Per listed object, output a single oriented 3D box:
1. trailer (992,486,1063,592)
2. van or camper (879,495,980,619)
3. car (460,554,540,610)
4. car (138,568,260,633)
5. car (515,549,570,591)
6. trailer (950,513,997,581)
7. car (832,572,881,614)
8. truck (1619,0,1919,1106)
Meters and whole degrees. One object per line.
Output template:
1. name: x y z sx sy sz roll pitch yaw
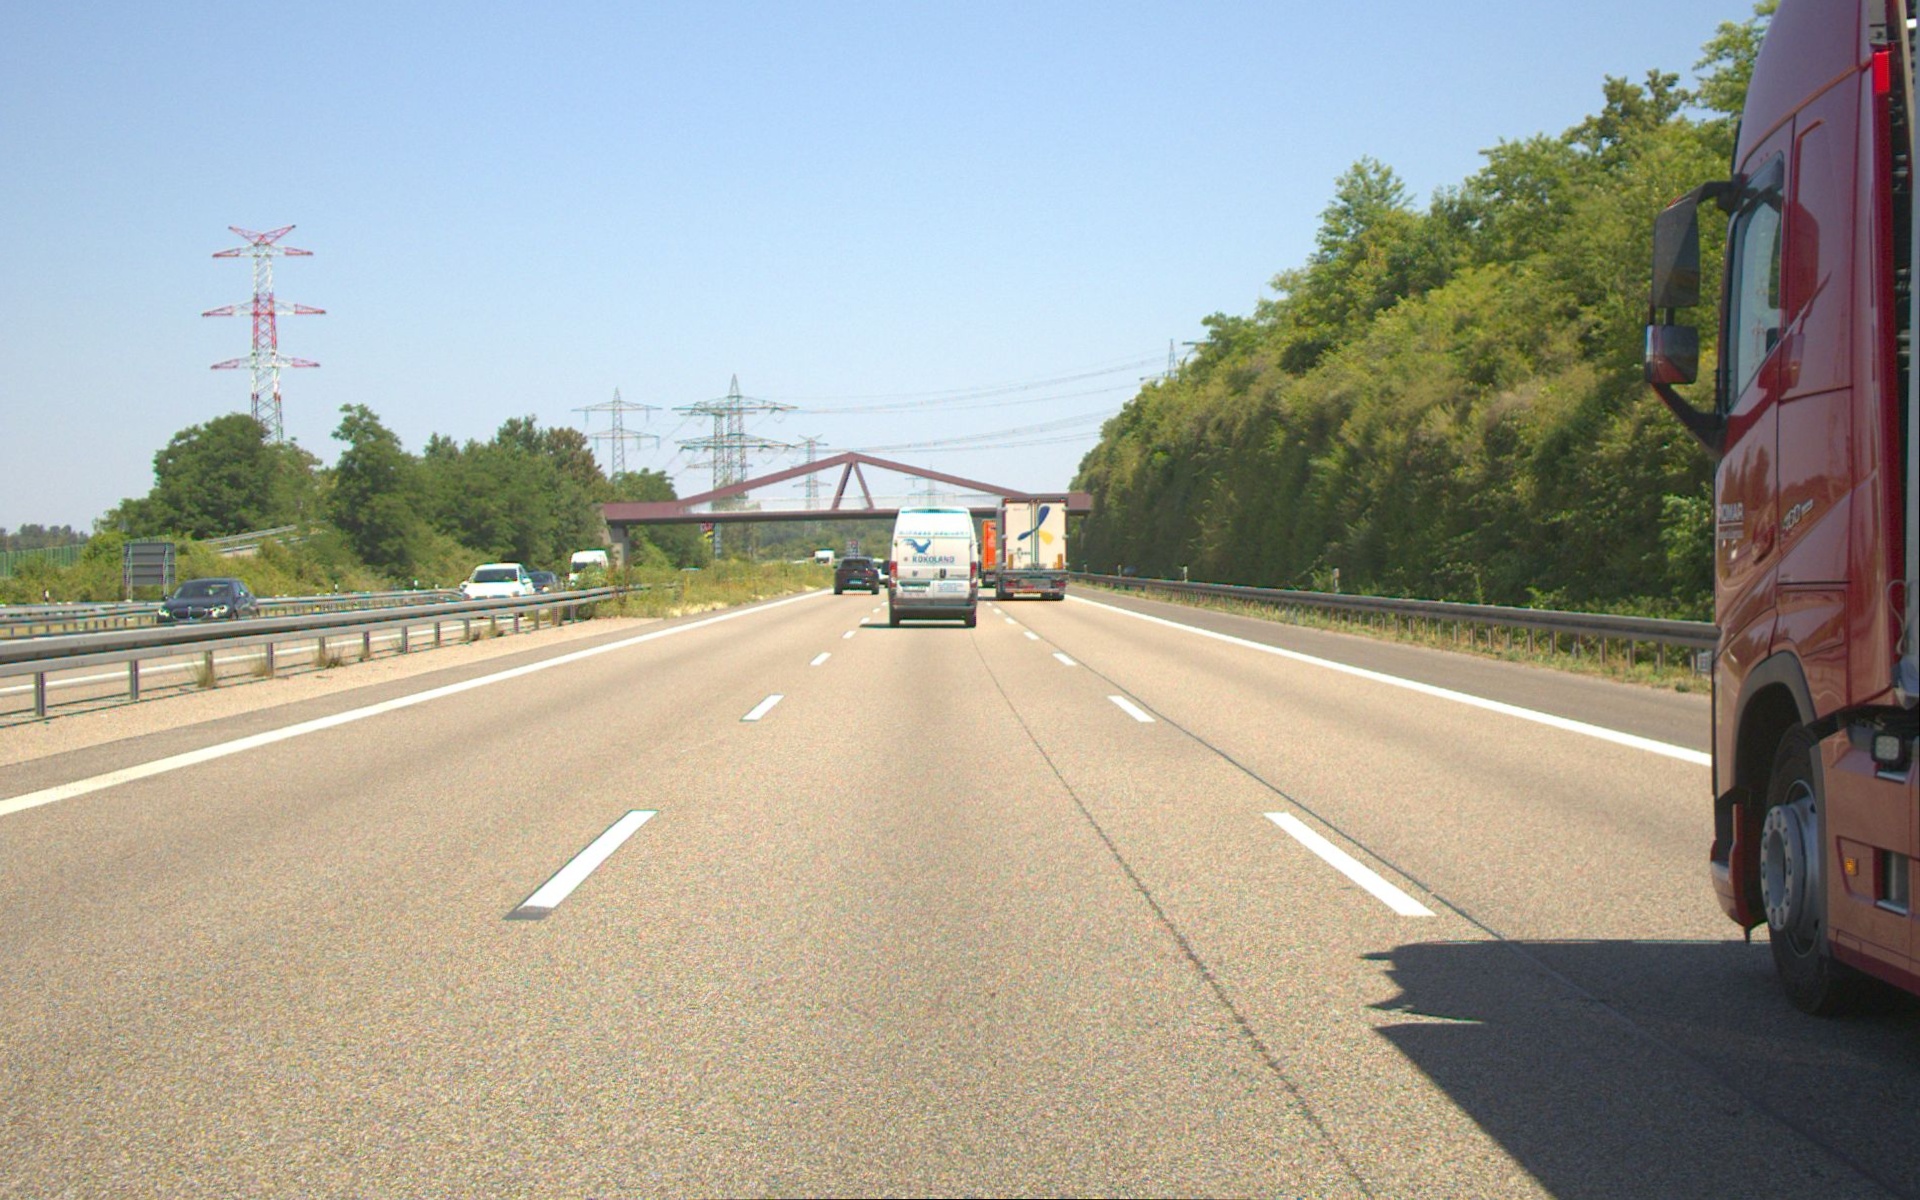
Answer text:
1. trailer: 2.678 -2.459 139.970 2.637 4.046 12.366 1 1 0
2. van or camper: -0.715 -1.011 80.754 2.230 2.772 5.423 1 1 -1
3. car: -13.456 -0.558 100.745 1.717 1.524 4.667 -3 1 -1
4. car: -18.023 -0.002 81.604 1.868 1.393 4.546 -3 1 -1
5. car: -18.644 -1.373 153.561 1.953 1.804 5.048 1 1 -2
6. trailer: 0.808 -3.136 204.598 2.637 3.883 7.069 1 1 0
7. car: -4.745 -0.333 158.064 1.982 1.811 3.812 1 1 1
8. truck: 3.896 -0.557 9.876 2.499 3.906 7.097 0 1 -1
